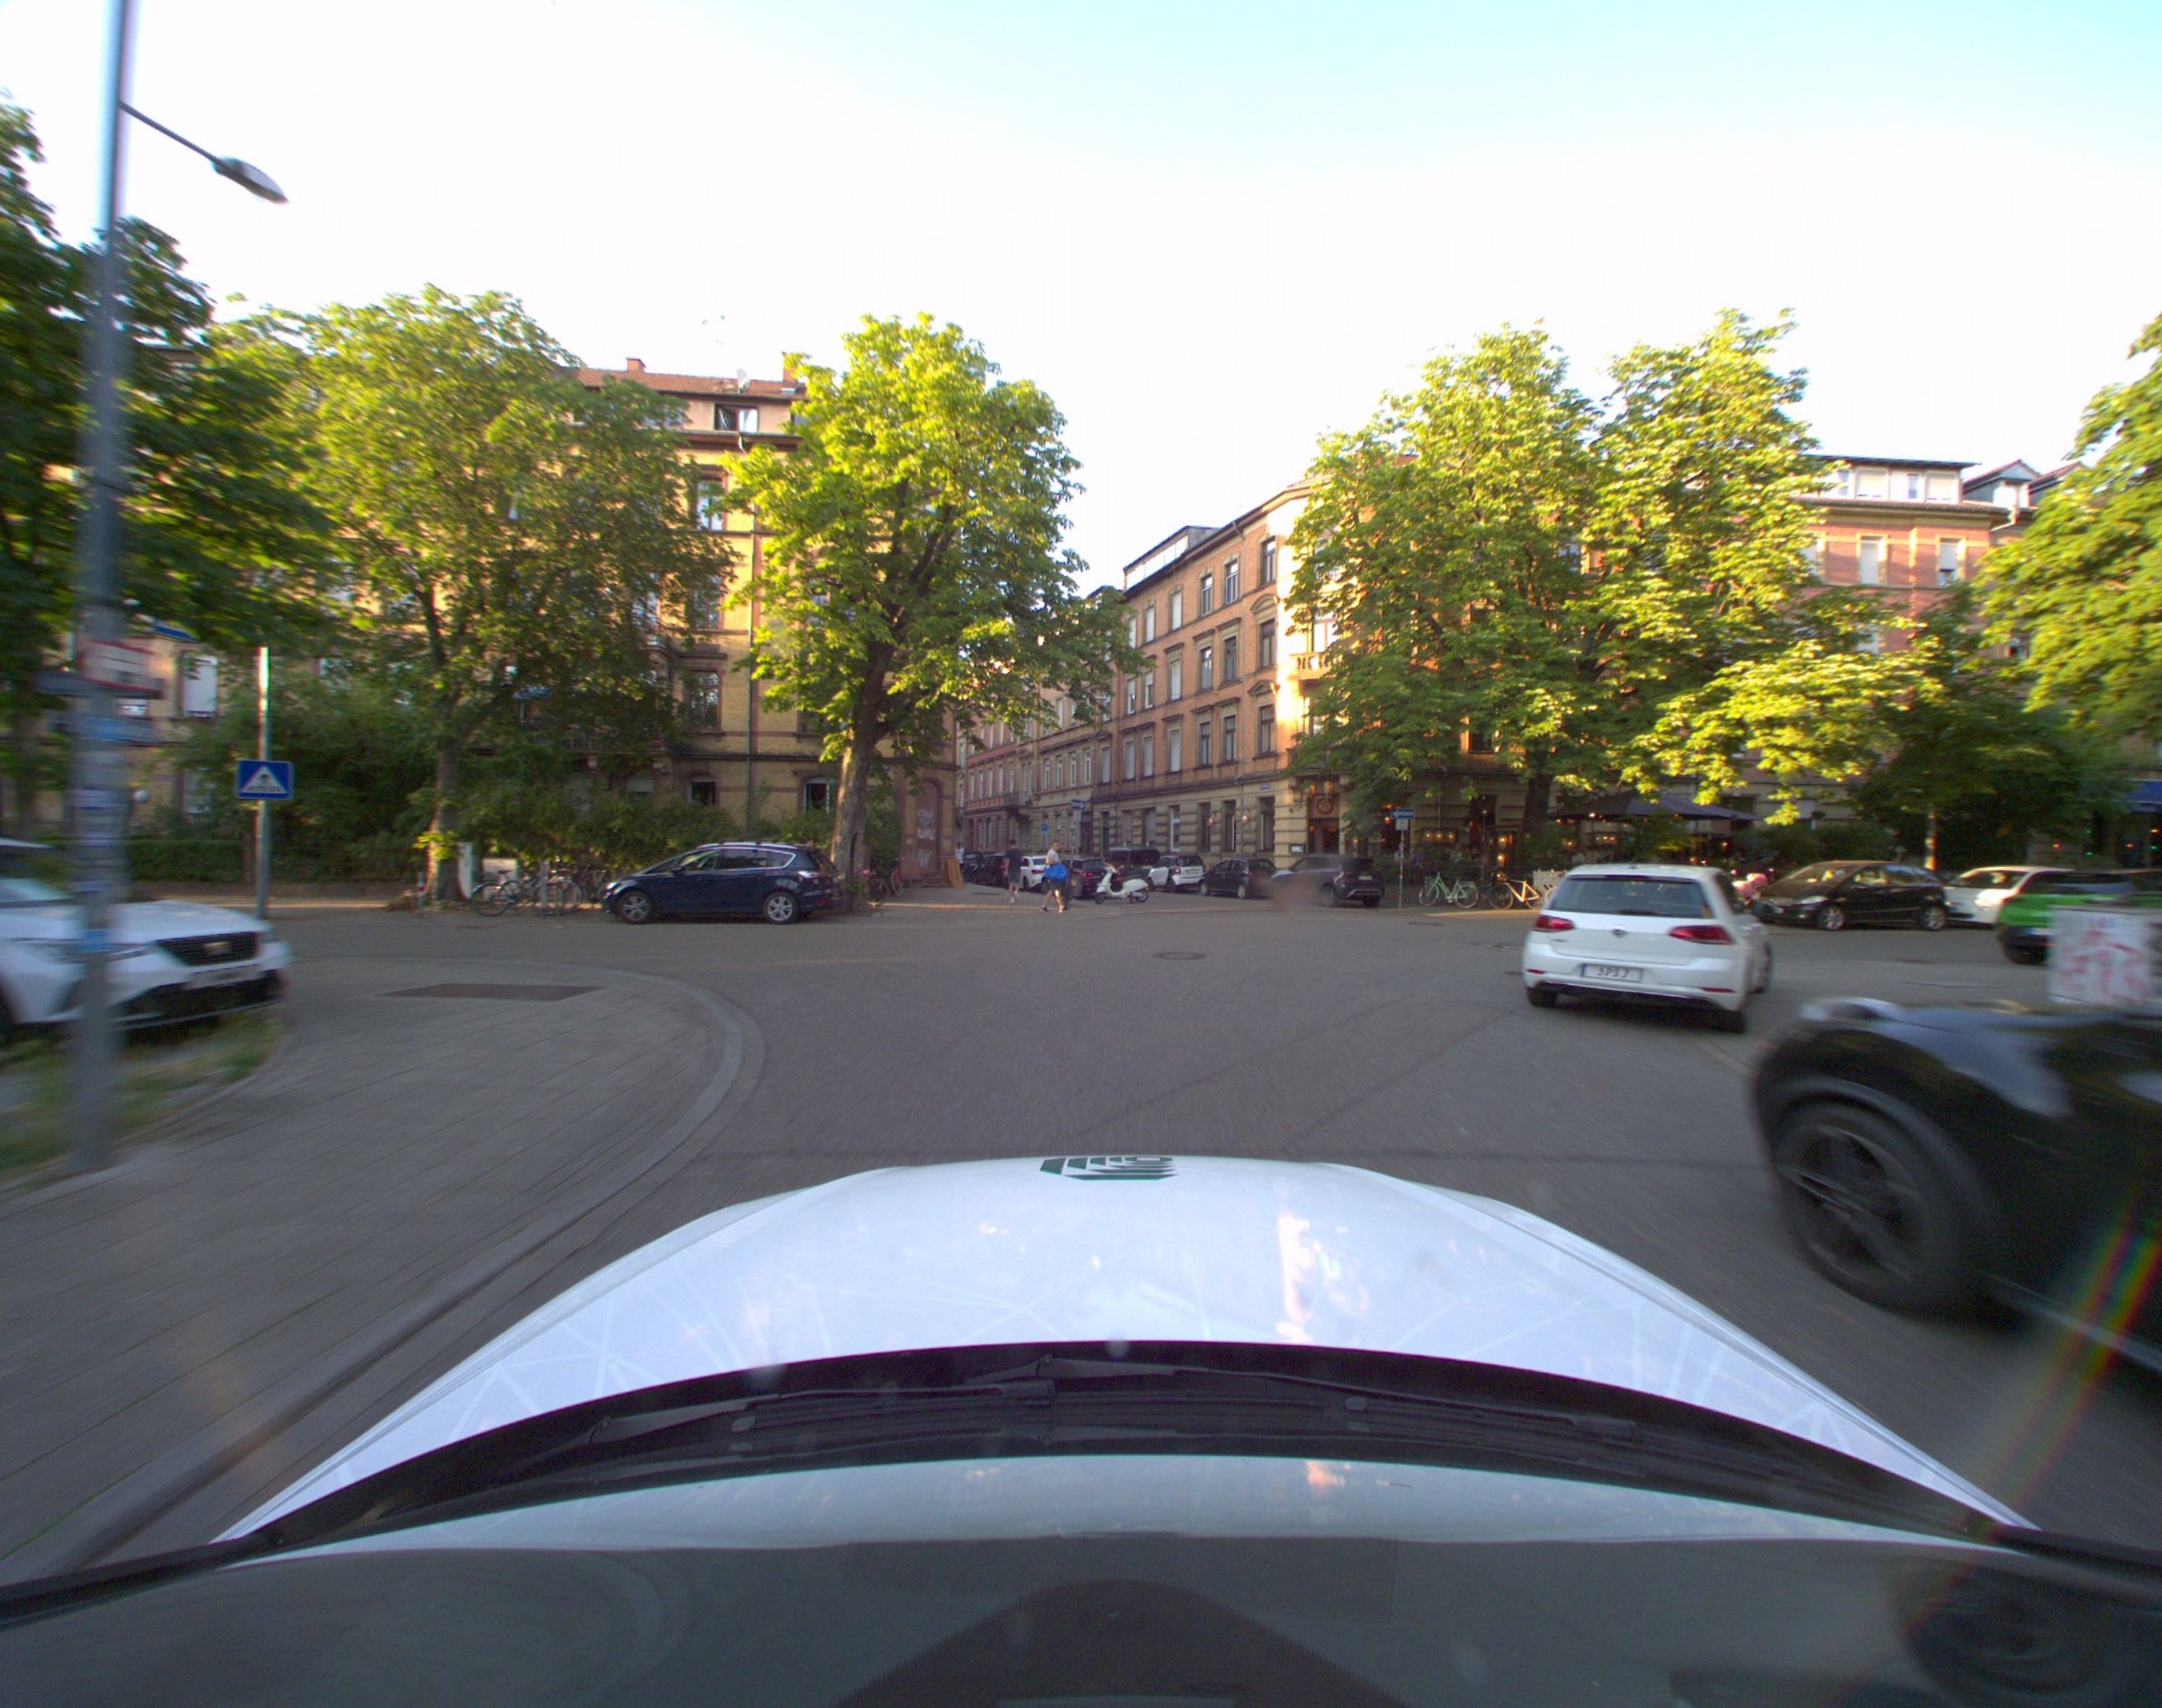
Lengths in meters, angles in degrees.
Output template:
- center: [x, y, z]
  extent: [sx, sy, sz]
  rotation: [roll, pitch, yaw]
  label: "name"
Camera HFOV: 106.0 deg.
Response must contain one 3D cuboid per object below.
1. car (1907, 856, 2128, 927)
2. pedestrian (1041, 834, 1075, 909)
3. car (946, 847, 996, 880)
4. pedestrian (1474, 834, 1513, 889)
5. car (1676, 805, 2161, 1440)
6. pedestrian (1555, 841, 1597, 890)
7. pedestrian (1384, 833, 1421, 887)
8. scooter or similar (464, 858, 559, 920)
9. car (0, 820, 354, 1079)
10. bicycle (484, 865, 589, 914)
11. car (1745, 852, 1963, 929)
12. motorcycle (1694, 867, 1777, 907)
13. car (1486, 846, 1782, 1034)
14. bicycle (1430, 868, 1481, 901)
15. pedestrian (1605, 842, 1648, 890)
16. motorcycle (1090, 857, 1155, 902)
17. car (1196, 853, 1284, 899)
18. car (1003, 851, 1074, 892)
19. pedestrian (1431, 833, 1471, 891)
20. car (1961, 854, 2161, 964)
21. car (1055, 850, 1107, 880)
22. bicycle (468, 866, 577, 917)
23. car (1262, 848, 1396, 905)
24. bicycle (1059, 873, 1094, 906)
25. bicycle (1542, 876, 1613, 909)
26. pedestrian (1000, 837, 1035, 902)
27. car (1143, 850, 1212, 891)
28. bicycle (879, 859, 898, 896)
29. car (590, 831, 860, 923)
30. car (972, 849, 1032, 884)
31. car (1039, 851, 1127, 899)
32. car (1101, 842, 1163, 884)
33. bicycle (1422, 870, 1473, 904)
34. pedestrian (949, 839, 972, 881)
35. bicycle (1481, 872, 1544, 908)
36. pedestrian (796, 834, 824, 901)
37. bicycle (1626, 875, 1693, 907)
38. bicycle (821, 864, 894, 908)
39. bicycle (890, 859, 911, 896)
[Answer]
- center: [22.500, 0.884, 19.633]
  extent: [3.750, 1.553, 1.624]
  rotation: [1, 0, -5]
  label: "car"
- center: [-0.589, 0.431, 20.588]
  extent: [0.813, 1.852, 0.802]
  rotation: [1, 1, -3]
  label: "pedestrian"
- center: [-5.817, 0.468, 42.787]
  extent: [1.661, 1.524, 3.867]
  rotation: [1, 1, -23]
  label: "car"
- center: [13.658, 0.243, 26.950]
  extent: [0.774, 1.804, 0.839]
  rotation: [0, 1, -13]
  label: "pedestrian"
- center: [3.523, 0.674, 1.715]
  extent: [1.689, 1.571, 3.972]
  rotation: [1, 0, 1]
  label: "car"
- center: [15.297, 0.355, 25.189]
  extent: [0.773, 1.481, 0.759]
  rotation: [0, 1, -10]
  label: "pedestrian"
- center: [10.988, 0.196, 27.843]
  extent: [0.843, 1.804, 0.771]
  rotation: [0, 1, -19]
  label: "pedestrian"
- center: [-11.649, 0.702, 16.703]
  extent: [1.519, 1.224, 0.442]
  rotation: [0, 1, -23]
  label: "scooter or similar"
- center: [-8.106, 0.517, 5.769]
  extent: [4.035, 1.475, 1.919]
  rotation: [2, 1, -3]
  label: "car"
- center: [-11.946, 0.771, 17.914]
  extent: [1.863, 1.028, 0.442]
  rotation: [0, 1, -23]
  label: "bicycle"
- center: [18.174, 0.827, 19.235]
  extent: [3.750, 1.605, 1.625]
  rotation: [1, 2, -5]
  label: "car"
- center: [18.685, 0.927, 23.264]
  extent: [1.822, 1.081, 0.520]
  rotation: [1, 1, 8]
  label: "motorcycle"
- center: [5.980, 0.690, 8.608]
  extent: [1.858, 1.466, 3.995]
  rotation: [2, 1, 45]
  label: "car"
- center: [11.086, 0.889, 24.120]
  extent: [0.321, 0.914, 1.349]
  rotation: [0, 1, -40]
  label: "bicycle"
- center: [16.969, 0.369, 25.345]
  extent: [0.773, 1.481, 0.759]
  rotation: [0, 1, -9]
  label: "pedestrian"
- center: [1.287, 0.781, 25.161]
  extent: [1.931, 1.340, 0.575]
  rotation: [0, 1, -9]
  label: "motorcycle"
- center: [5.763, 0.748, 29.922]
  extent: [1.682, 1.525, 3.219]
  rotation: [0, 1, -23]
  label: "car"
- center: [-1.792, 0.672, 33.046]
  extent: [1.660, 1.431, 4.139]
  rotation: [1, 1, -21]
  label: "car"
- center: [11.716, 0.248, 25.797]
  extent: [0.774, 1.804, 0.839]
  rotation: [0, 1, -13]
  label: "pedestrian"
- center: [16.409, 0.850, 12.536]
  extent: [3.952, 1.530, 1.878]
  rotation: [1, -3, -5]
  label: "car"
- center: [-0.032, 0.541, 42.329]
  extent: [1.682, 1.431, 2.992]
  rotation: [1, 1, -23]
  label: "car"
- center: [-11.875, 0.784, 17.371]
  extent: [1.863, 1.028, 0.442]
  rotation: [0, 1, -23]
  label: "bicycle"
- center: [7.599, 0.640, 25.343]
  extent: [1.922, 1.525, 3.867]
  rotation: [1, 2, -23]
  label: "car"
- center: [-0.125, 0.991, 23.071]
  extent: [0.421, 0.822, 1.470]
  rotation: [1, 1, 23]
  label: "bicycle"
- center: [14.007, 1.079, 22.954]
  extent: [1.969, 0.885, 0.399]
  rotation: [0, 1, -12]
  label: "bicycle"
- center: [-1.815, 0.418, 23.228]
  extent: [0.737, 1.804, 1.115]
  rotation: [0, 1, -19]
  label: "pedestrian"
- center: [3.918, 0.659, 33.488]
  extent: [1.682, 1.525, 2.746]
  rotation: [1, 1, -23]
  label: "car"
- center: [-5.704, 0.680, 24.212]
  extent: [0.241, 1.028, 1.676]
  rotation: [1, 1, -3]
  label: "bicycle"
- center: [-7.342, 0.443, 17.242]
  extent: [4.821, 1.732, 1.918]
  rotation: [1, 1, -5]
  label: "car"
- center: [-3.701, 0.535, 37.428]
  extent: [1.661, 1.431, 3.867]
  rotation: [1, 1, -23]
  label: "car"
- center: [-0.013, 0.676, 28.521]
  extent: [1.661, 1.431, 3.961]
  rotation: [1, 1, -22]
  label: "car"
- center: [2.276, 0.366, 36.976]
  extent: [1.682, 1.782, 2.992]
  rotation: [1, 1, -23]
  label: "car"
- center: [10.753, 0.962, 23.951]
  extent: [0.321, 0.914, 1.349]
  rotation: [0, 1, -40]
  label: "bicycle"
- center: [-5.303, 0.249, 35.806]
  extent: [0.843, 1.804, 0.771]
  rotation: [0, 1, -19]
  label: "pedestrian"
- center: [12.227, 1.015, 23.097]
  extent: [1.560, 0.956, 0.321]
  rotation: [1, 1, 13]
  label: "bicycle"
- center: [-6.710, 0.317, 20.154]
  extent: [0.541, 1.634, 0.447]
  rotation: [1, 1, -3]
  label: "pedestrian"
- center: [16.461, 1.039, 23.164]
  extent: [1.875, 0.885, 0.399]
  rotation: [0, 1, -12]
  label: "bicycle"
- center: [-5.437, 0.770, 19.842]
  extent: [1.679, 1.028, 0.442]
  rotation: [0, 1, -23]
  label: "bicycle"
- center: [-5.388, 0.685, 24.325]
  extent: [0.318, 1.028, 1.676]
  rotation: [1, 1, -3]
  label: "bicycle"
